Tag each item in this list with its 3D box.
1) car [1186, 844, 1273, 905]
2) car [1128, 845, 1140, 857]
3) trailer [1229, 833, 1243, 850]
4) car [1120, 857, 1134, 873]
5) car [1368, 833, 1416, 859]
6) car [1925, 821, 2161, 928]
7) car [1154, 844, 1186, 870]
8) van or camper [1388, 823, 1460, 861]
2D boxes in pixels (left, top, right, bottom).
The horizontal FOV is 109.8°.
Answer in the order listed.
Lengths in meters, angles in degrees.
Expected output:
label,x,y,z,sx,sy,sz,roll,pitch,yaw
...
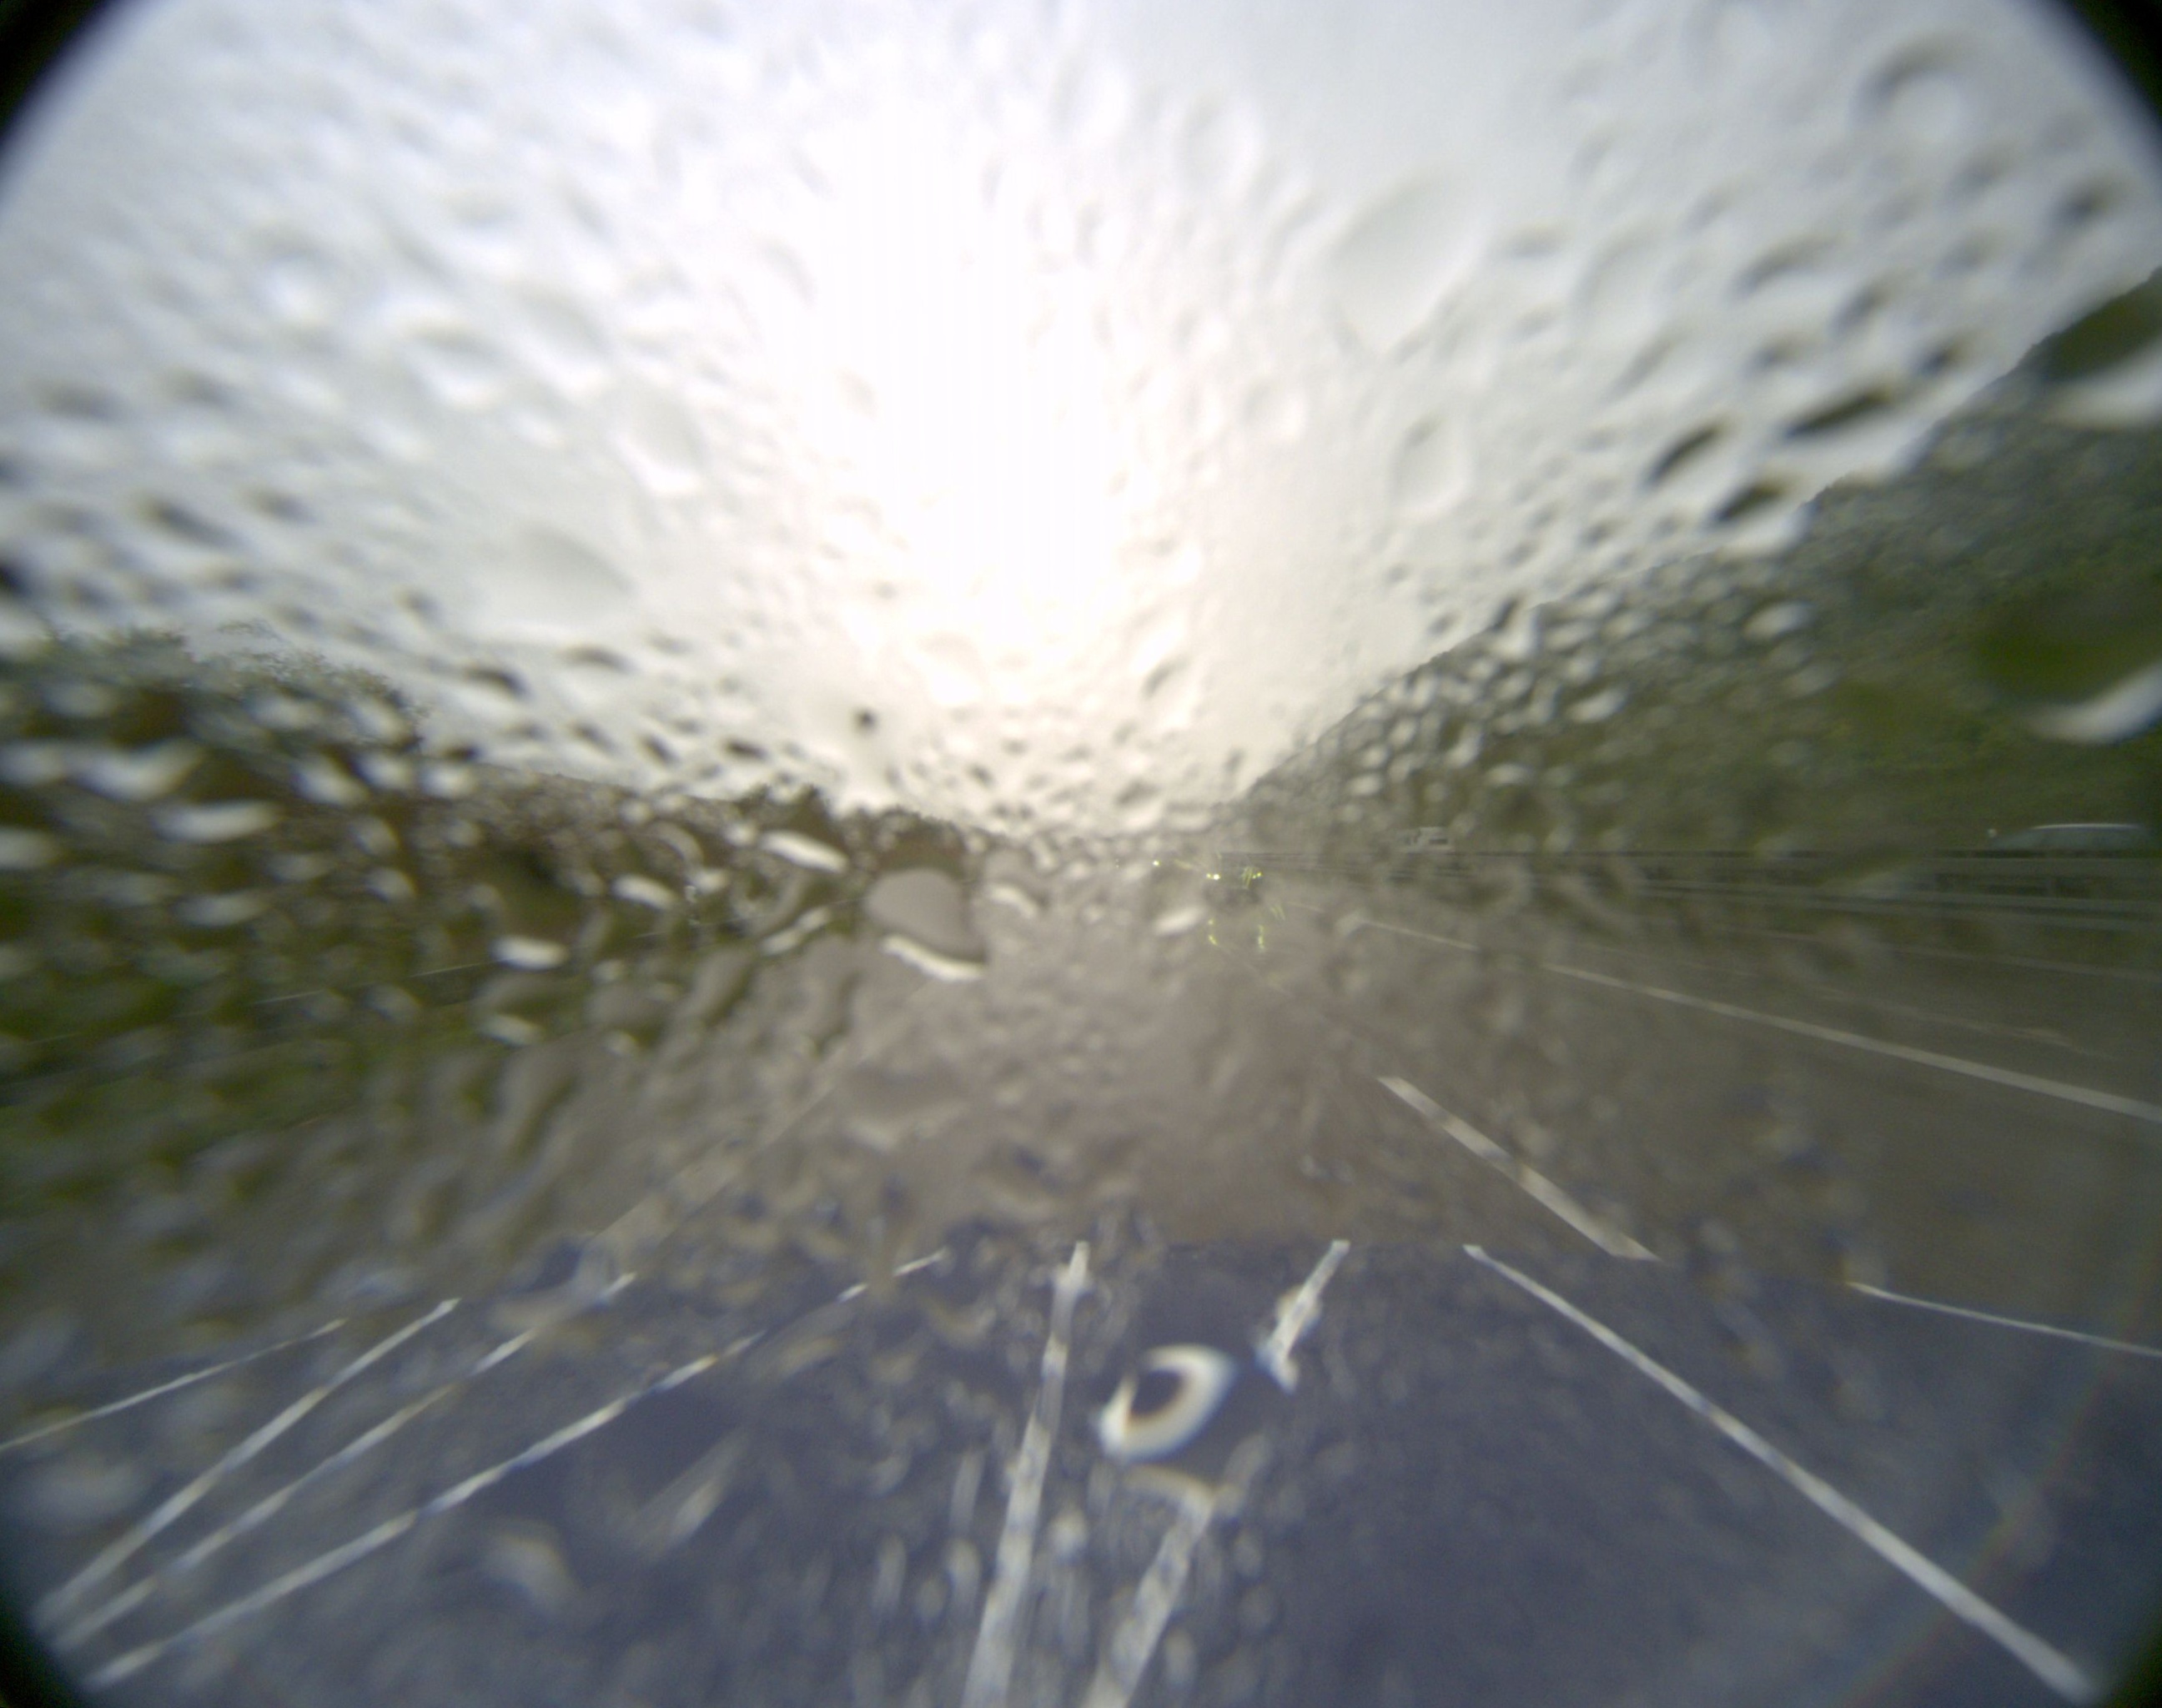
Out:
label,x,y,z,sx,sy,sz,roll,pitch,yaw
car,4.696,0.585,24.782,1.998,1.673,4.909,-4,1,3
car,10.003,-0.584,142.567,1.998,2.001,4.001,-2,-1,1
trailer,48.294,-3.858,236.915,2.742,4.758,14.048,-3,0,7
car,6.592,1.525,108.764,1.835,2.002,3.939,-3,1,3
car,25.921,-0.623,63.453,1.998,2.003,5.179,-2,0,2
car,19.793,0.331,14.927,1.998,1.849,4.000,-2,0,1
car,6.065,0.175,52.256,1.814,1.692,3.749,-3,1,2
van or camper,25.675,-0.859,57.247,2.350,2.549,7.206,-2,0,2
